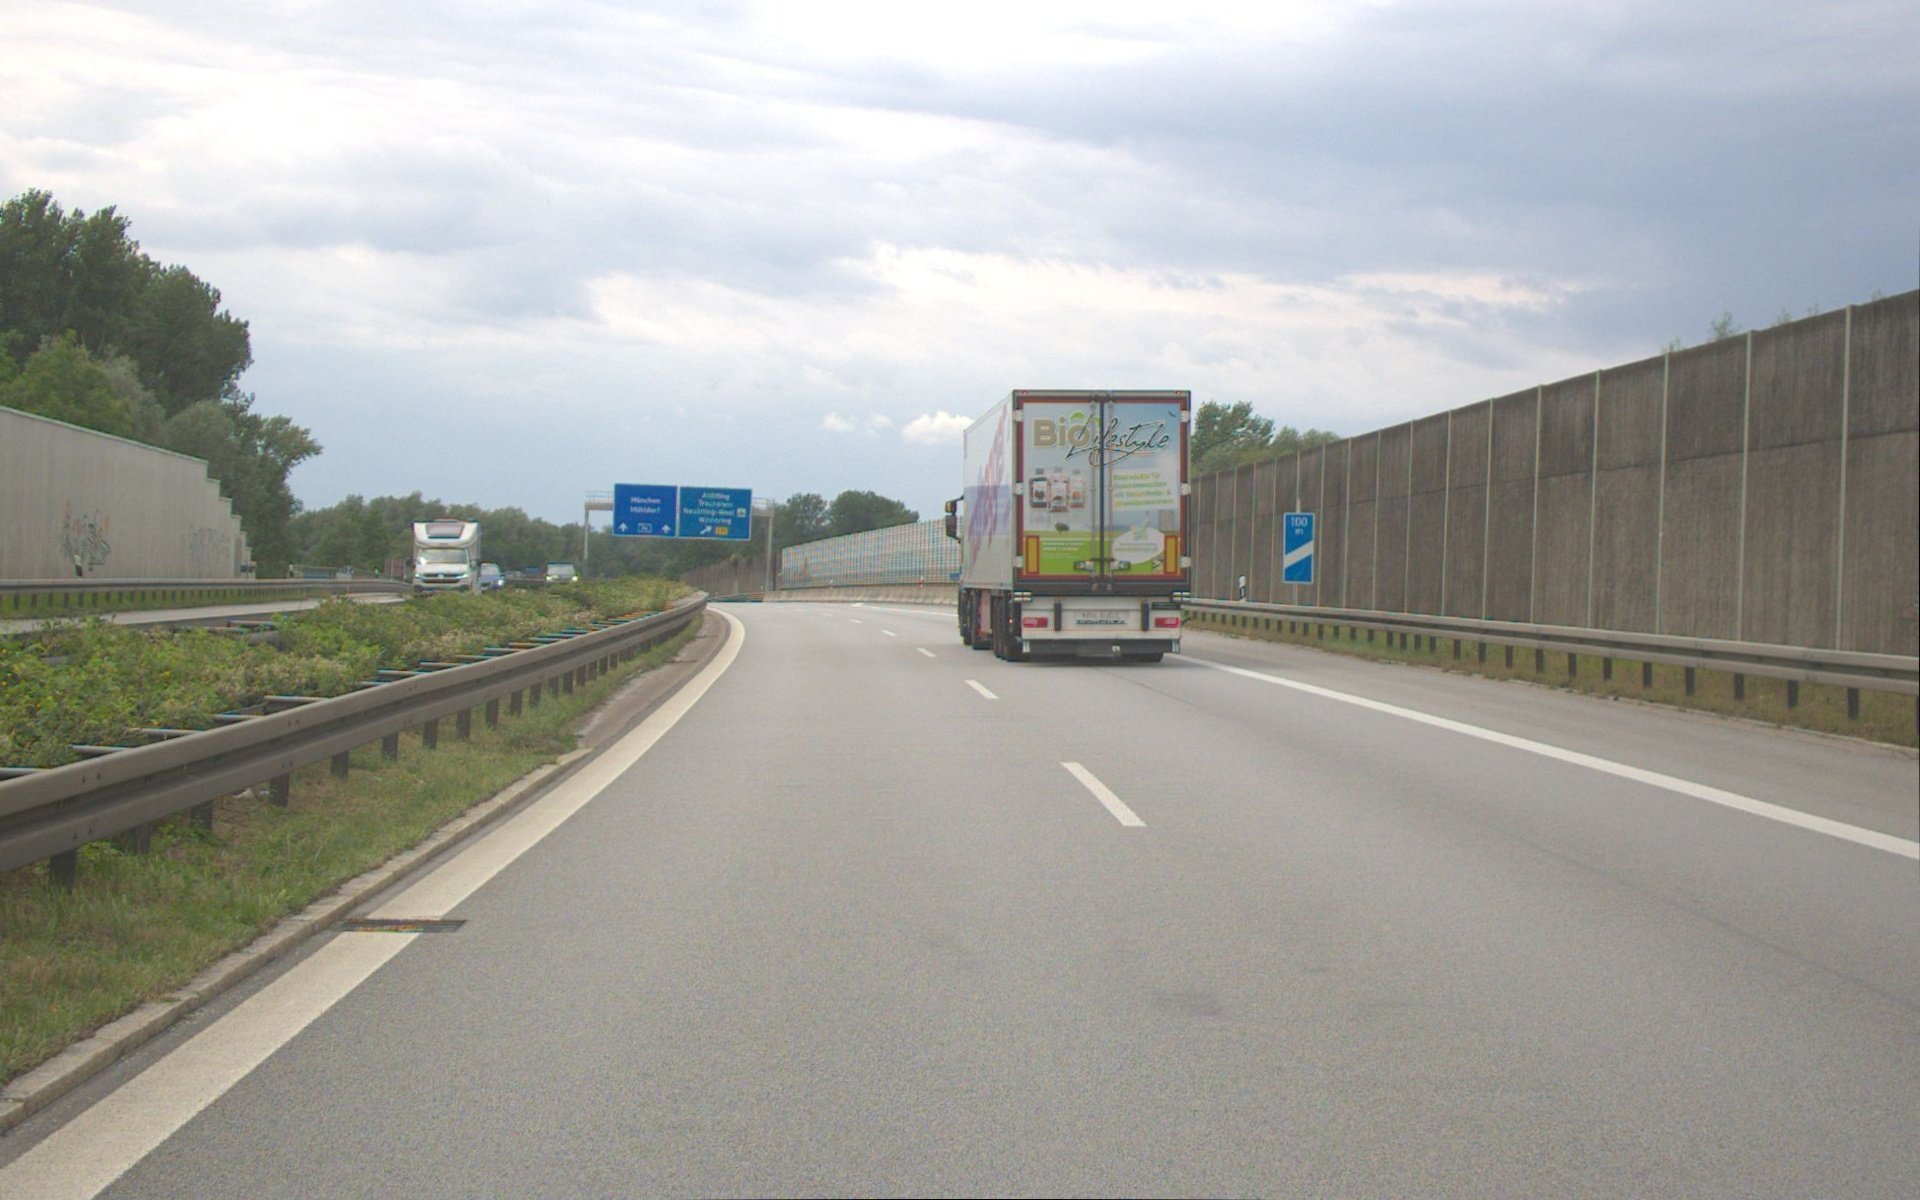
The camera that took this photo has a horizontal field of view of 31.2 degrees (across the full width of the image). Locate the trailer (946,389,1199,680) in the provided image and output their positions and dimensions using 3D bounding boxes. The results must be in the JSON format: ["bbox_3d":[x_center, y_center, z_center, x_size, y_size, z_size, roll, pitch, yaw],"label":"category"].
[{"bbox_3d":[1.591,-0.986,56.536,2.792,4.160,14.105,1,0,-4],"label":"trailer"}]

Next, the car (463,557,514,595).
[{"bbox_3d":[-19.612,-0.999,143.138,1.811,1.541,4.517,1,0,-4],"label":"car"}]

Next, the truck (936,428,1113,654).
[{"bbox_3d":[1.116,-1.047,63.211,2.755,3.946,5.678,1,0,-4],"label":"truck"}]

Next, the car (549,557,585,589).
[{"bbox_3d":[-23.724,-1.629,207.593,1.993,1.879,4.556,1,1,-5],"label":"car"}]

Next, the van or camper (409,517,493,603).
[{"bbox_3d":[-16.941,-1.325,114.665,2.254,2.769,5.756,1,0,-4],"label":"van or camper"}]
